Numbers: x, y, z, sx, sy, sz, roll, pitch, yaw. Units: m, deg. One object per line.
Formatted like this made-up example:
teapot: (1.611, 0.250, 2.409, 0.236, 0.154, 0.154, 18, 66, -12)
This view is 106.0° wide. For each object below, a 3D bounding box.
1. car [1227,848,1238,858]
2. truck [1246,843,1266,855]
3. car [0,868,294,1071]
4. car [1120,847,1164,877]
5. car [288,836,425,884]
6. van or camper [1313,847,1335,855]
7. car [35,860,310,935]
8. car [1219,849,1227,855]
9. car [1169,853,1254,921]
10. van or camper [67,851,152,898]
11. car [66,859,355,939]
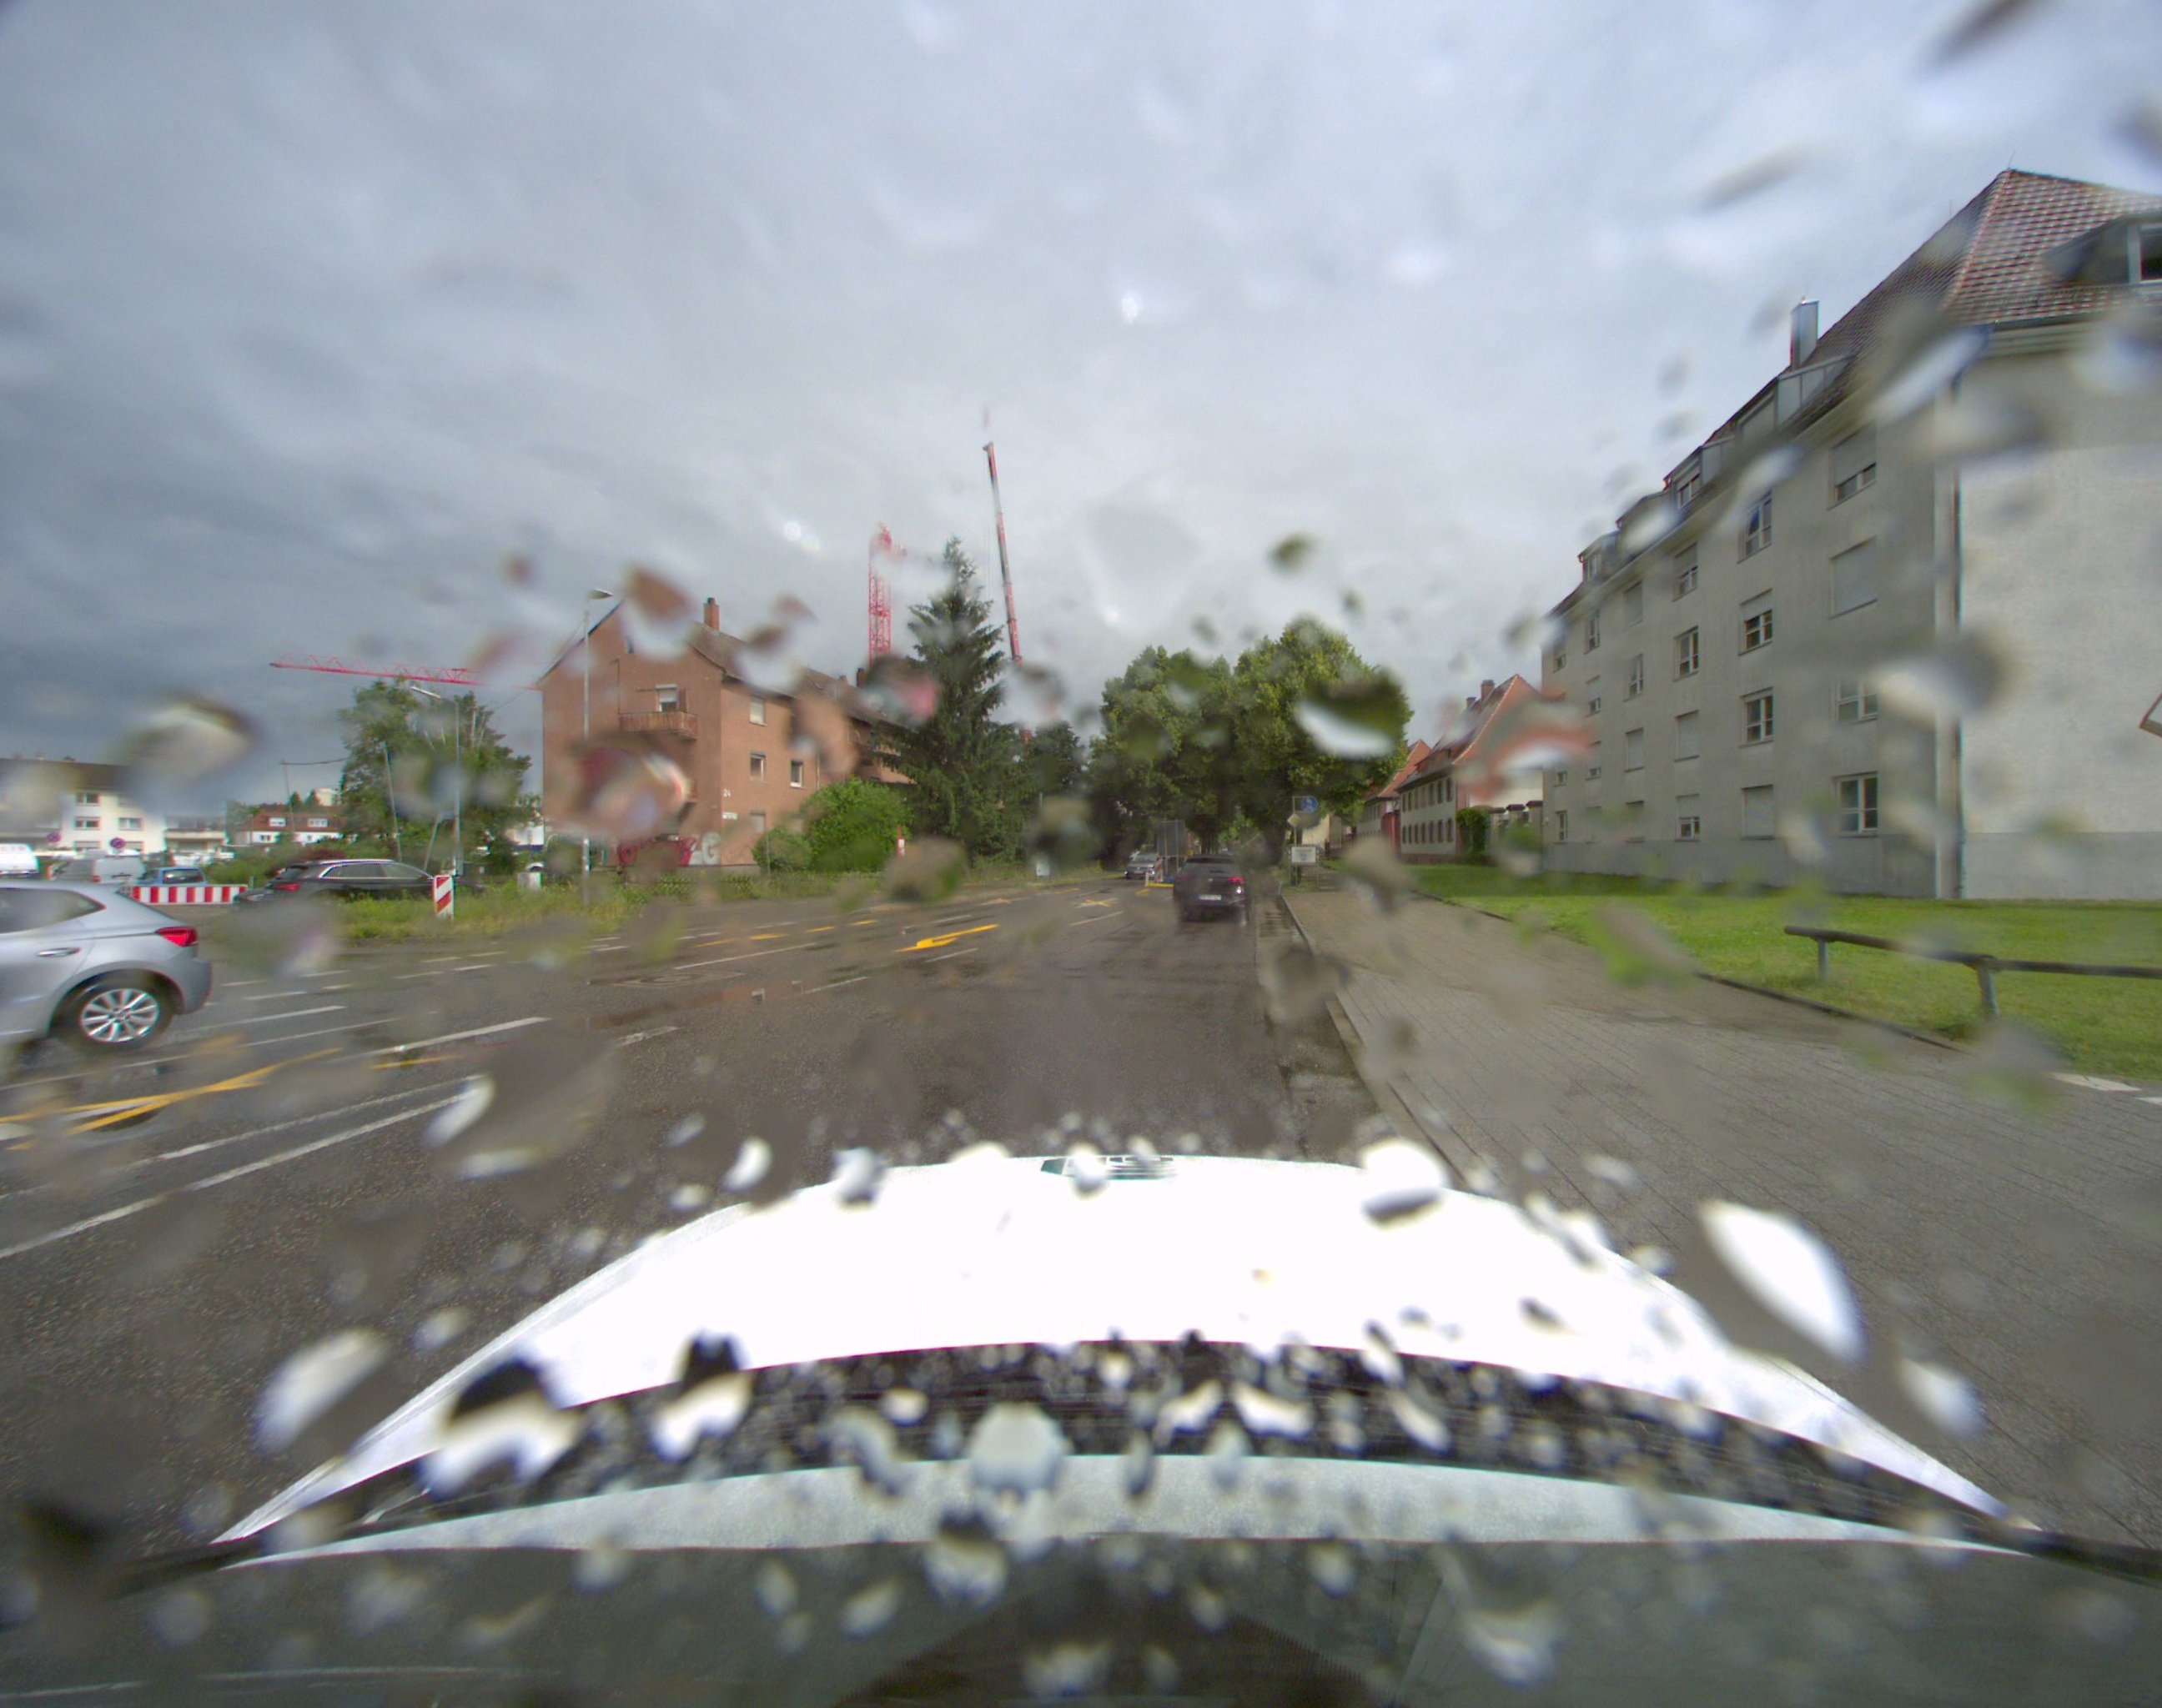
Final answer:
car: (27.692, -0.128, 148.971, 1.873, 1.713, 4.244, -1, 0, 13)
truck: (38.422, -1.138, 179.294, 2.795, 2.656, 8.243, 0, 1, 1)
car: (-8.734, 0.854, 5.766, 1.724, 1.414, 4.200, 0, 0, 20)
car: (3.343, 0.400, 44.060, 1.667, 1.508, 3.809, -1, 0, 15)
car: (-32.272, 0.202, 36.402, 1.694, 2.018, 4.350, 0, 1, 39)
van or camper: (58.735, -0.798, 196.956, 4.841, 1.925, 2.139, 0, 1, 12)
car: (-22.698, 0.989, 20.590, 1.738, 1.618, 4.282, 0, 1, 23)
car: (36.708, -0.477, 210.213, 1.578, 1.512, 3.749, -4, -1, 18)
car: (3.275, 0.730, 20.337, 1.883, 1.522, 4.011, 0, 0, 10)
van or camper: (-50.695, 1.005, 42.448, 5.842, 2.274, 2.013, 0, 0, 32)
car: (-20.445, 0.956, 19.406, 1.738, 1.618, 4.351, 0, 1, 23)
